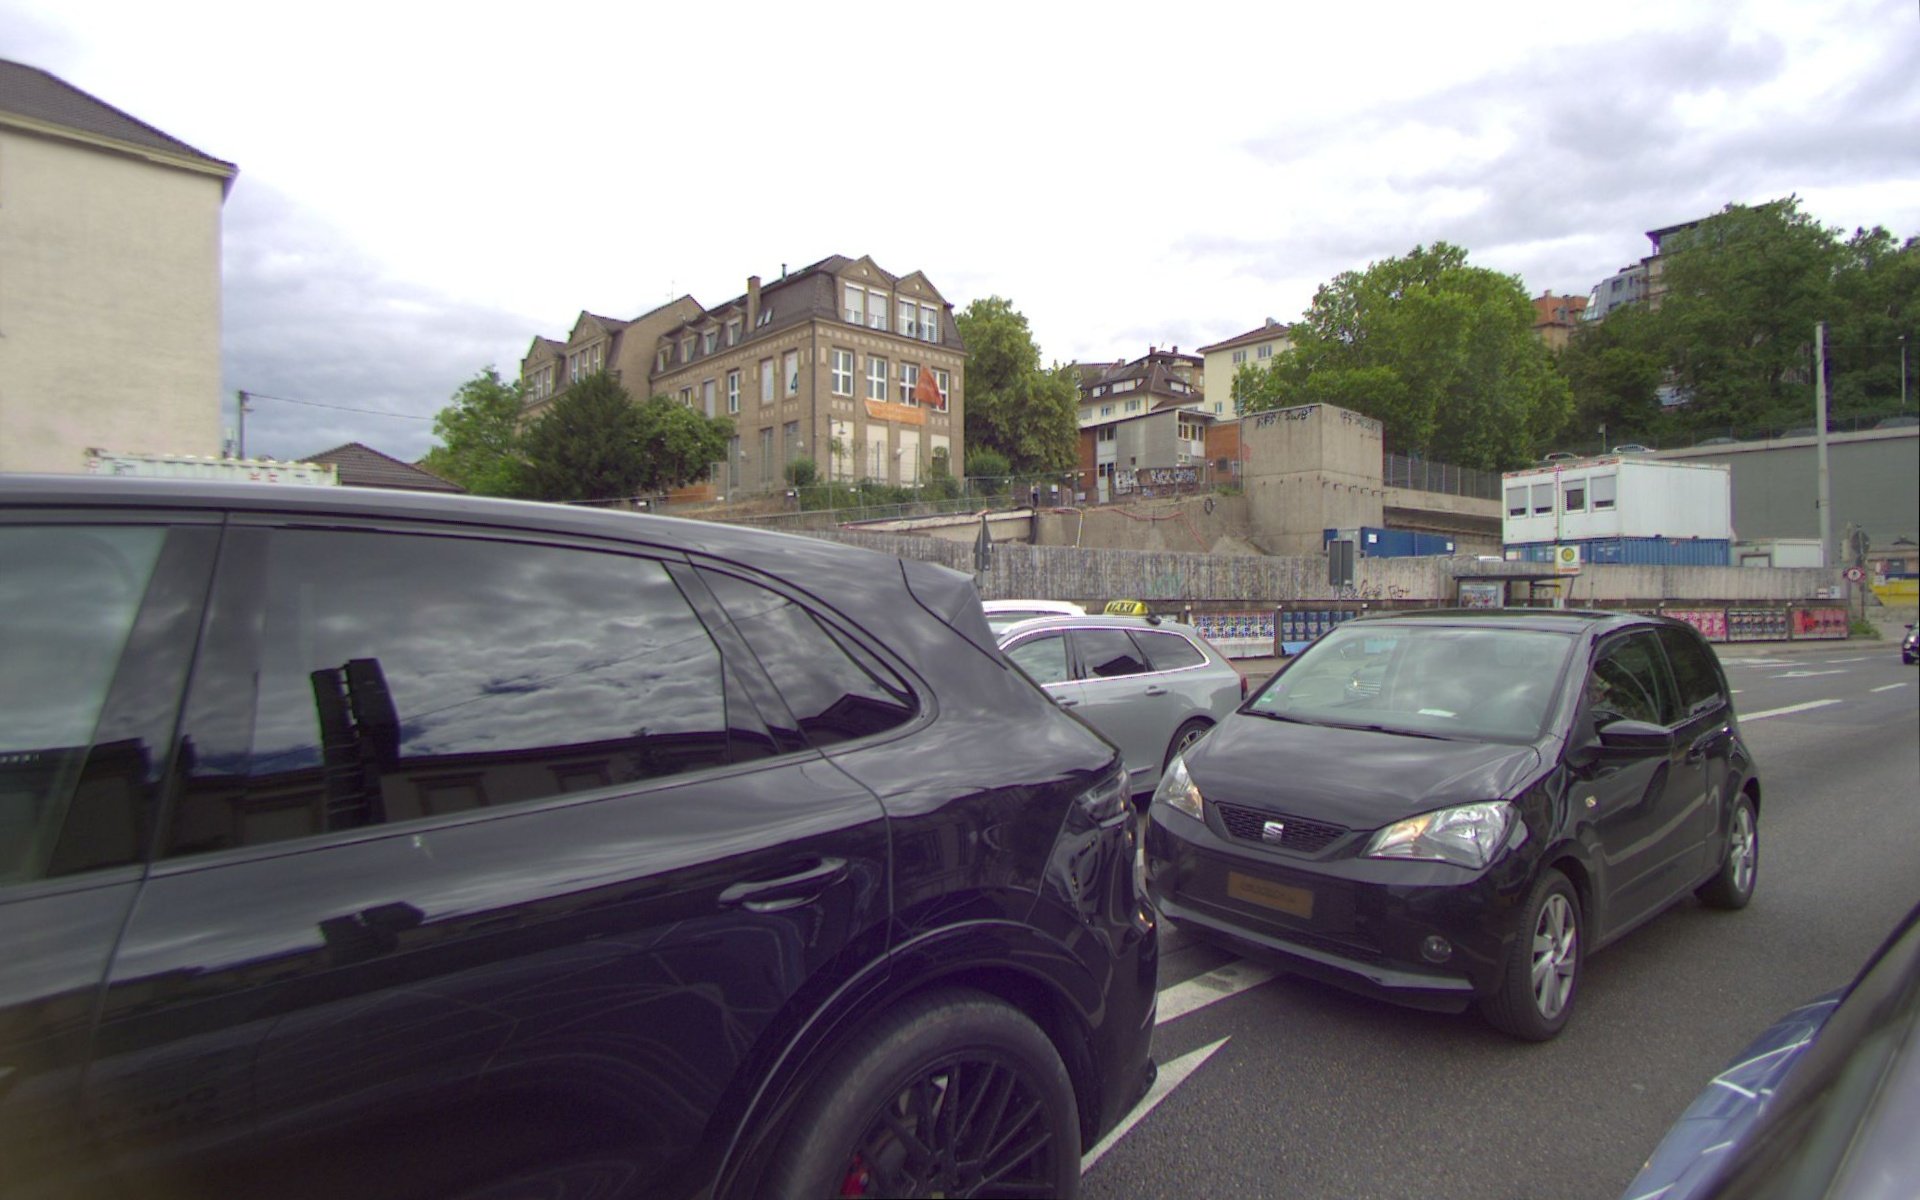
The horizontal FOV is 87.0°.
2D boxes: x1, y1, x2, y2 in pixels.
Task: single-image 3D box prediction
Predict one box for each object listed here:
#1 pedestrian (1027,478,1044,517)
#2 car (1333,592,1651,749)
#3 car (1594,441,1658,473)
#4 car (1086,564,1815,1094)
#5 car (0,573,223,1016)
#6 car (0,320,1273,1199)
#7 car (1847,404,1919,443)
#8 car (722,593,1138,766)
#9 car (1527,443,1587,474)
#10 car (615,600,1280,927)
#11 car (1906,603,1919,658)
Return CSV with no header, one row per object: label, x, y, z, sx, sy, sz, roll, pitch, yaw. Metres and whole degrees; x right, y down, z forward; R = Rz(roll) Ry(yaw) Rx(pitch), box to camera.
pedestrian,4.067,-5.500,54.380,0.656,2.039,0.644,0,0,-45
car,6.557,0.710,12.270,4.467,1.579,1.705,0,0,-38
car,53.565,-11.493,81.424,3.988,2.039,1.968,0,1,45
car,2.517,0.661,4.777,3.812,1.515,1.667,0,-1,-40
car,-4.894,0.694,3.410,3.812,1.563,1.667,0,-1,-40
car,-1.633,0.585,1.692,4.552,1.707,1.959,0,-1,-40
car,64.153,-12.178,70.032,1.966,2.039,3.991,0,1,-43
car,-0.210,0.722,11.290,4.465,1.579,1.705,0,0,-36
car,50.250,-11.901,85.214,3.988,2.039,1.968,0,1,45
car,0.144,0.814,7.175,4.570,1.591,1.826,0,0,-39
car,27.605,0.805,27.748,3.925,1.462,1.731,0,-1,-36
